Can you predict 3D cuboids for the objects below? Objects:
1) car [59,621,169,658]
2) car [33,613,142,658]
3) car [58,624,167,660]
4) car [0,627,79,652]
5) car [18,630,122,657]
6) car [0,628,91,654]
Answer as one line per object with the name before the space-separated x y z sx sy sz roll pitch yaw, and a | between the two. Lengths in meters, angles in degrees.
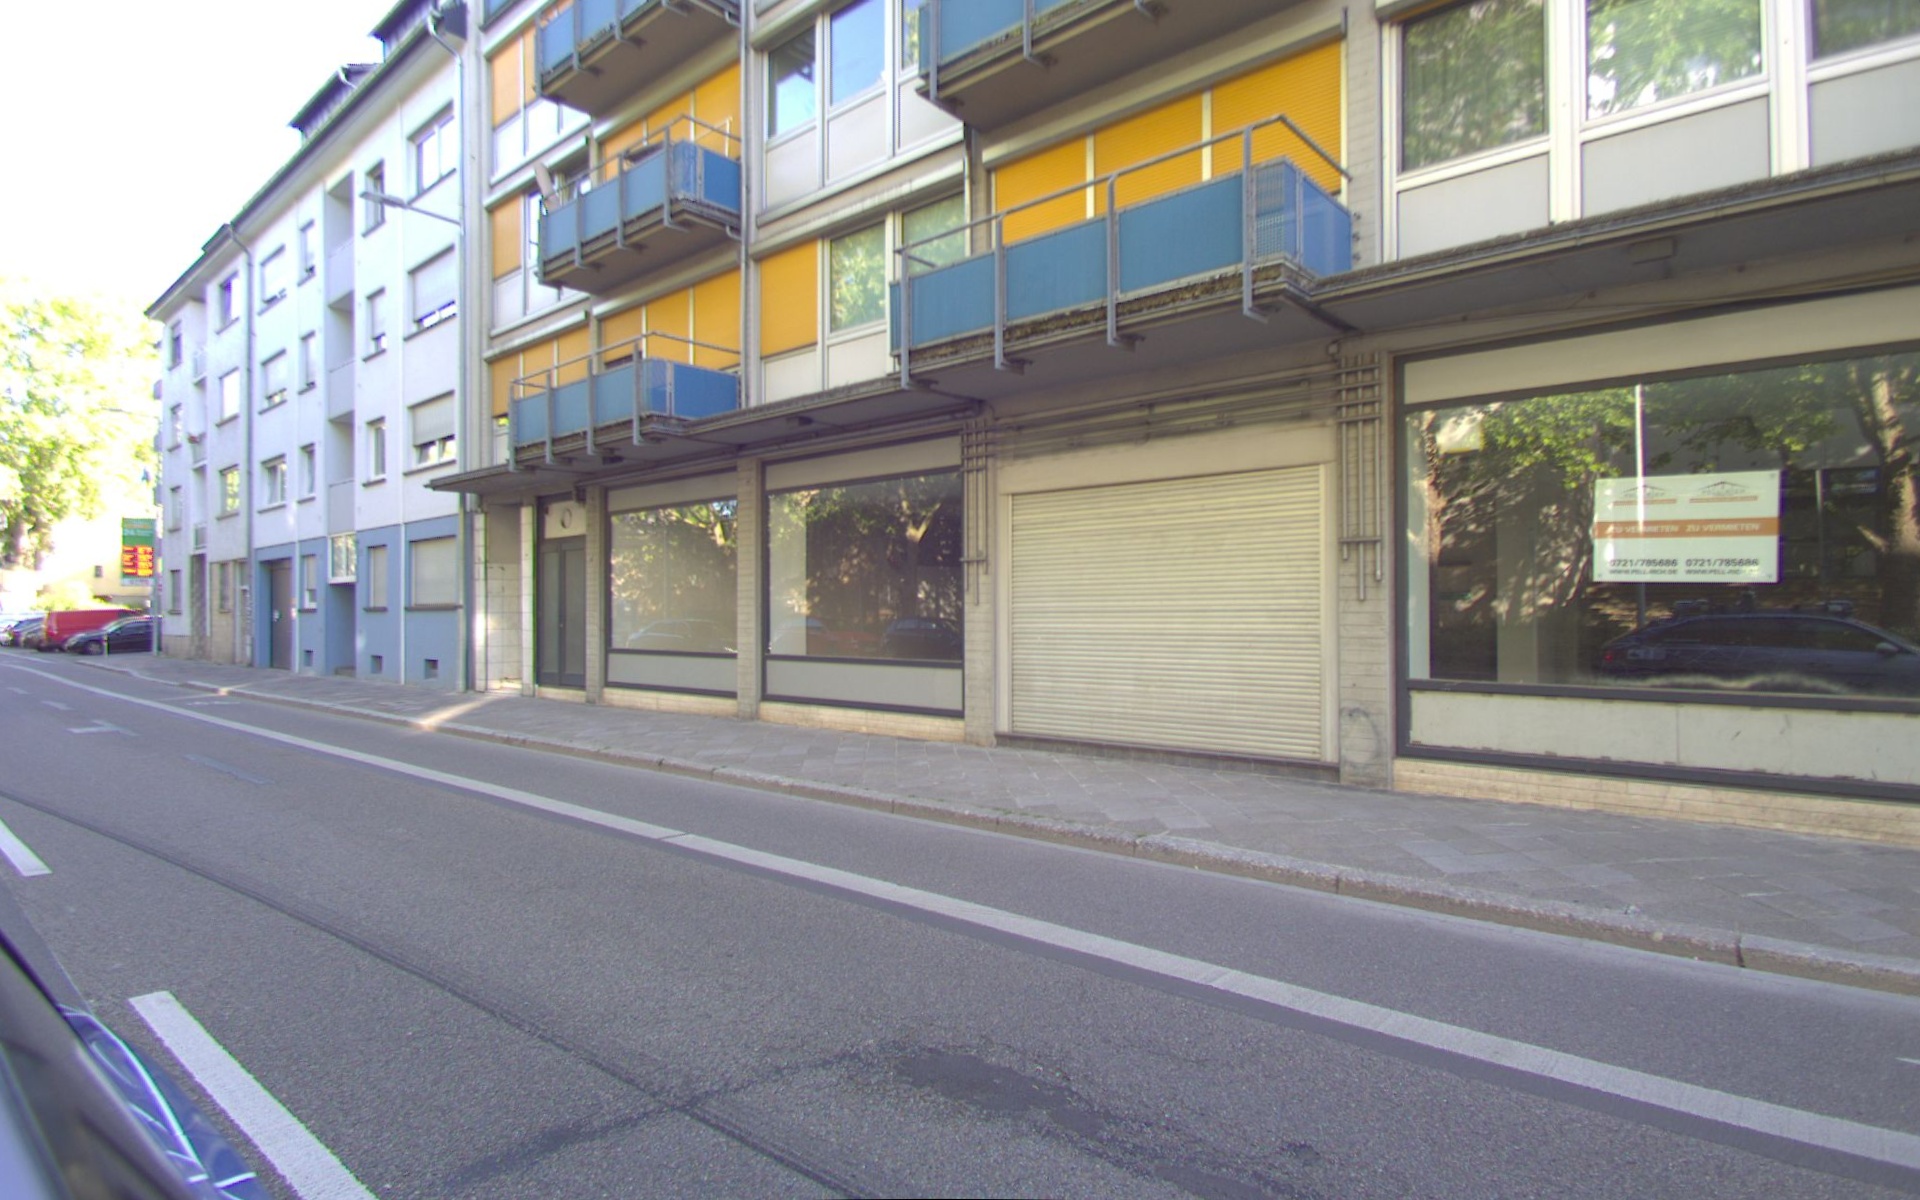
car | -38.187 1.753 45.723 1.490 1.523 3.638 -1 0 43
car | -40.646 1.633 47.223 1.488 1.923 3.642 -4 -2 39
car | -36.671 1.796 43.843 1.490 1.398 3.462 -1 0 43
car | -52.255 2.233 57.504 1.345 1.254 3.228 -1 0 43
car | -42.809 2.059 48.738 1.345 1.137 3.638 -1 0 43
car | -50.441 2.226 55.875 1.345 1.254 3.638 -1 0 43
